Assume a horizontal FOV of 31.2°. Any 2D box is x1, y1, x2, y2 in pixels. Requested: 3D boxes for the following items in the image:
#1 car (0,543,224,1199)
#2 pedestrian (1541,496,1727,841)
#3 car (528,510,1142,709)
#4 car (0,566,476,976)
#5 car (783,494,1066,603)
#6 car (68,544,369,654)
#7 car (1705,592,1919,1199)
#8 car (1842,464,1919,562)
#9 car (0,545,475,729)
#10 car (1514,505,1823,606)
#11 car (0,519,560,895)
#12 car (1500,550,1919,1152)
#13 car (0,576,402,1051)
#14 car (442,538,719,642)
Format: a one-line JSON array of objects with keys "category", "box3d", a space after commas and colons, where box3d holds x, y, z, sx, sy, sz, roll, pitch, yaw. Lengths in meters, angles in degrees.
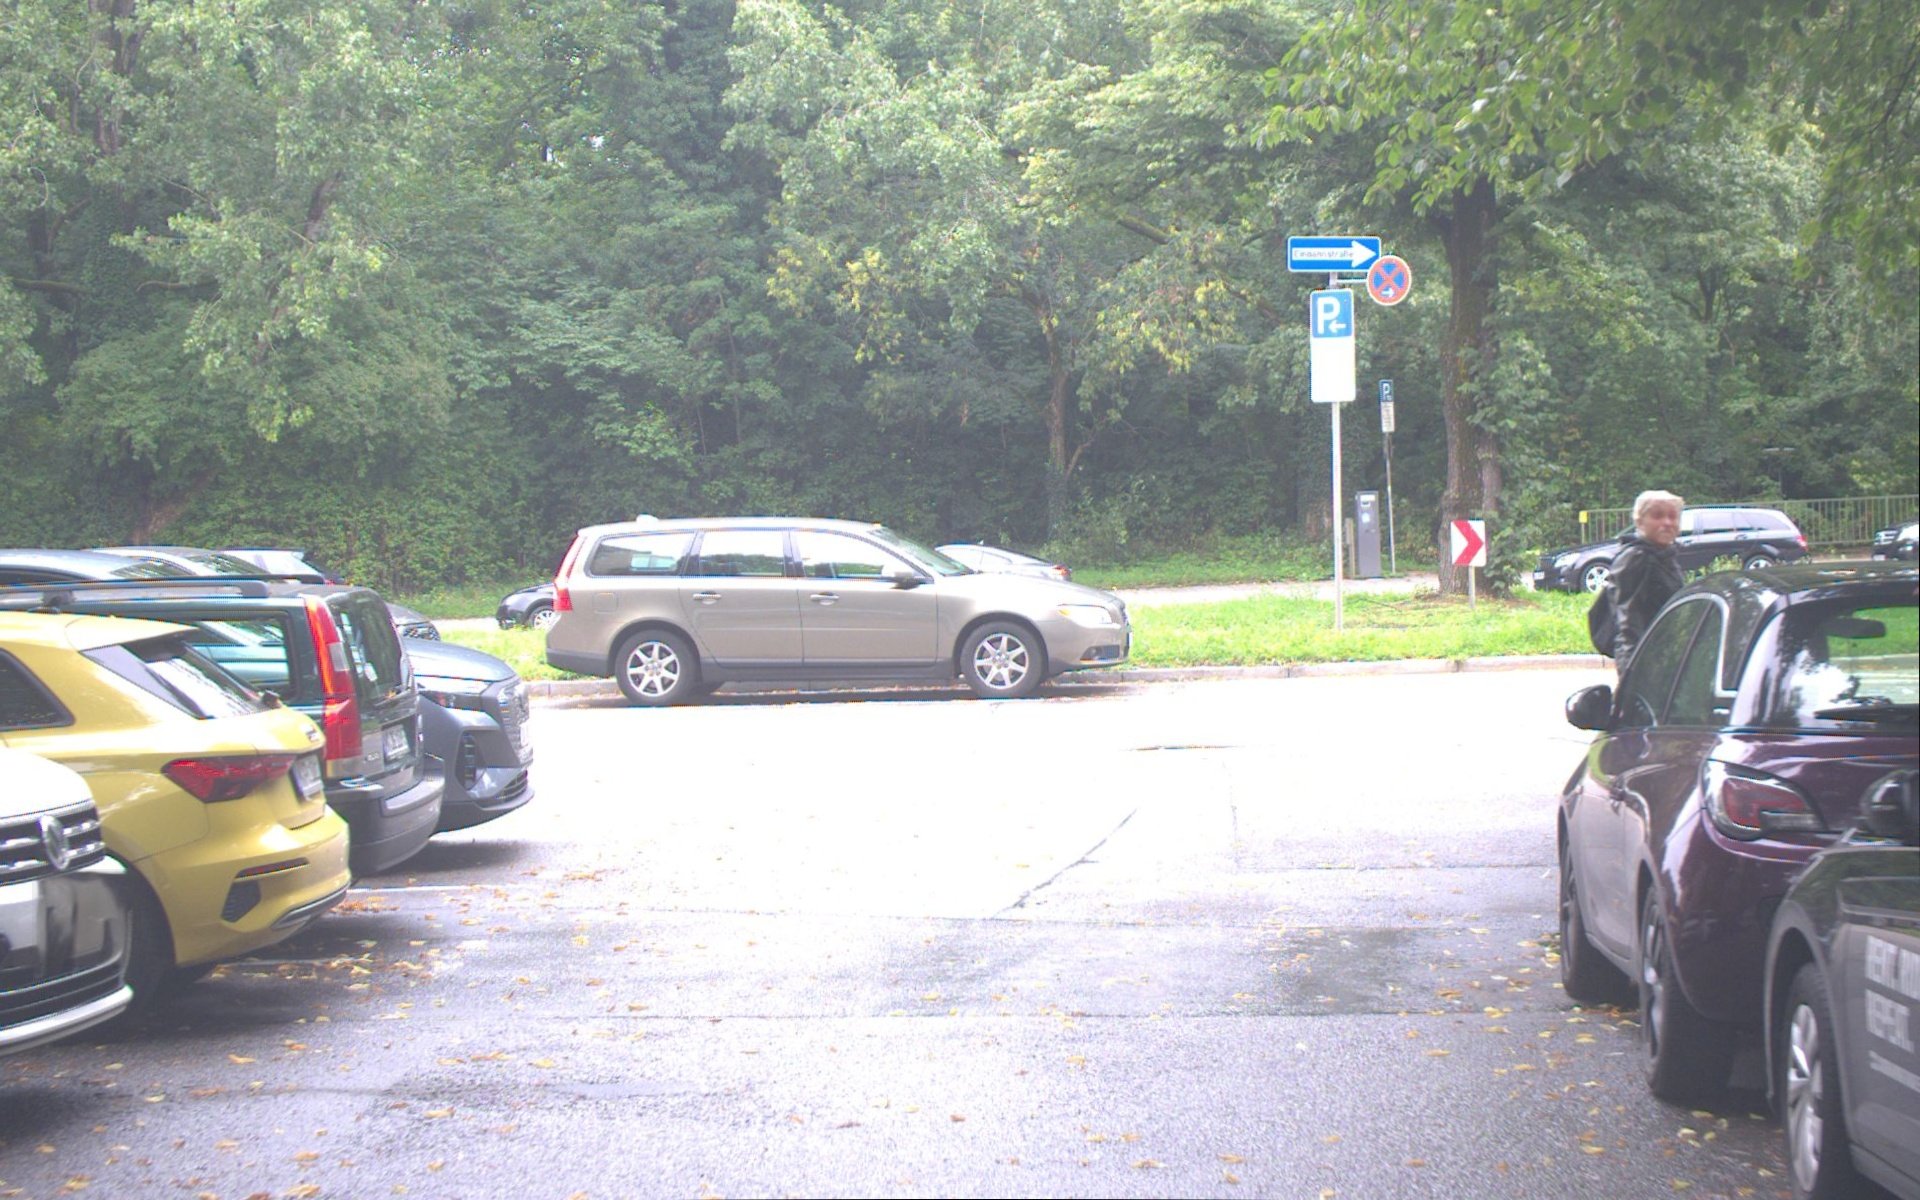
[{"category": "car", "box3d": [-4.492, 0.700, 9.420, 4.449, 1.591, 1.835, -1, 1, 6]}, {"category": "pedestrian", "box3d": [3.281, 0.321, 16.785, 0.779, 1.612, 0.761, -1, 3, 4]}, {"category": "car", "box3d": [-0.972, 0.061, 28.344, 4.803, 1.490, 1.842, -1, 1, 7]}, {"category": "car", "box3d": [-4.133, 0.699, 14.030, 3.987, 1.459, 1.736, -2, 2, 1]}, {"category": "car", "box3d": [-0.581, -0.845, 55.614, 4.434, 1.573, 1.932, -2, 1, -1]}, {"category": "car", "box3d": [-11.914, -0.035, 55.442, 4.434, 1.573, 1.932, -2, 1, -3]}, {"category": "car", "box3d": [2.634, 0.707, 6.313, 1.681, 1.353, 4.009, -1, 2, 0]}, {"category": "car", "box3d": [17.432, -1.512, 56.937, 5.028, 1.560, 2.000, -2, 1, -7]}, {"category": "car", "box3d": [-6.466, 0.306, 28.953, 4.349, 1.375, 1.769, -2, 1, 10]}, {"category": "car", "box3d": [11.668, -0.745, 56.775, 4.580, 1.466, 1.932, -2, 1, -7]}, {"category": "car", "box3d": [-4.185, 0.517, 16.819, 4.162, 1.595, 1.736, -2, 3, 1]}, {"category": "car", "box3d": [2.676, 0.617, 10.573, 1.648, 1.469, 3.643, -1, 1, 4]}, {"category": "car", "box3d": [-4.016, 0.731, 11.751, 3.879, 1.436, 1.741, -2, 1, 0]}, {"category": "car", "box3d": [-6.110, -0.177, 55.680, 4.233, 1.489, 2.000, -2, 1, -1]}]
